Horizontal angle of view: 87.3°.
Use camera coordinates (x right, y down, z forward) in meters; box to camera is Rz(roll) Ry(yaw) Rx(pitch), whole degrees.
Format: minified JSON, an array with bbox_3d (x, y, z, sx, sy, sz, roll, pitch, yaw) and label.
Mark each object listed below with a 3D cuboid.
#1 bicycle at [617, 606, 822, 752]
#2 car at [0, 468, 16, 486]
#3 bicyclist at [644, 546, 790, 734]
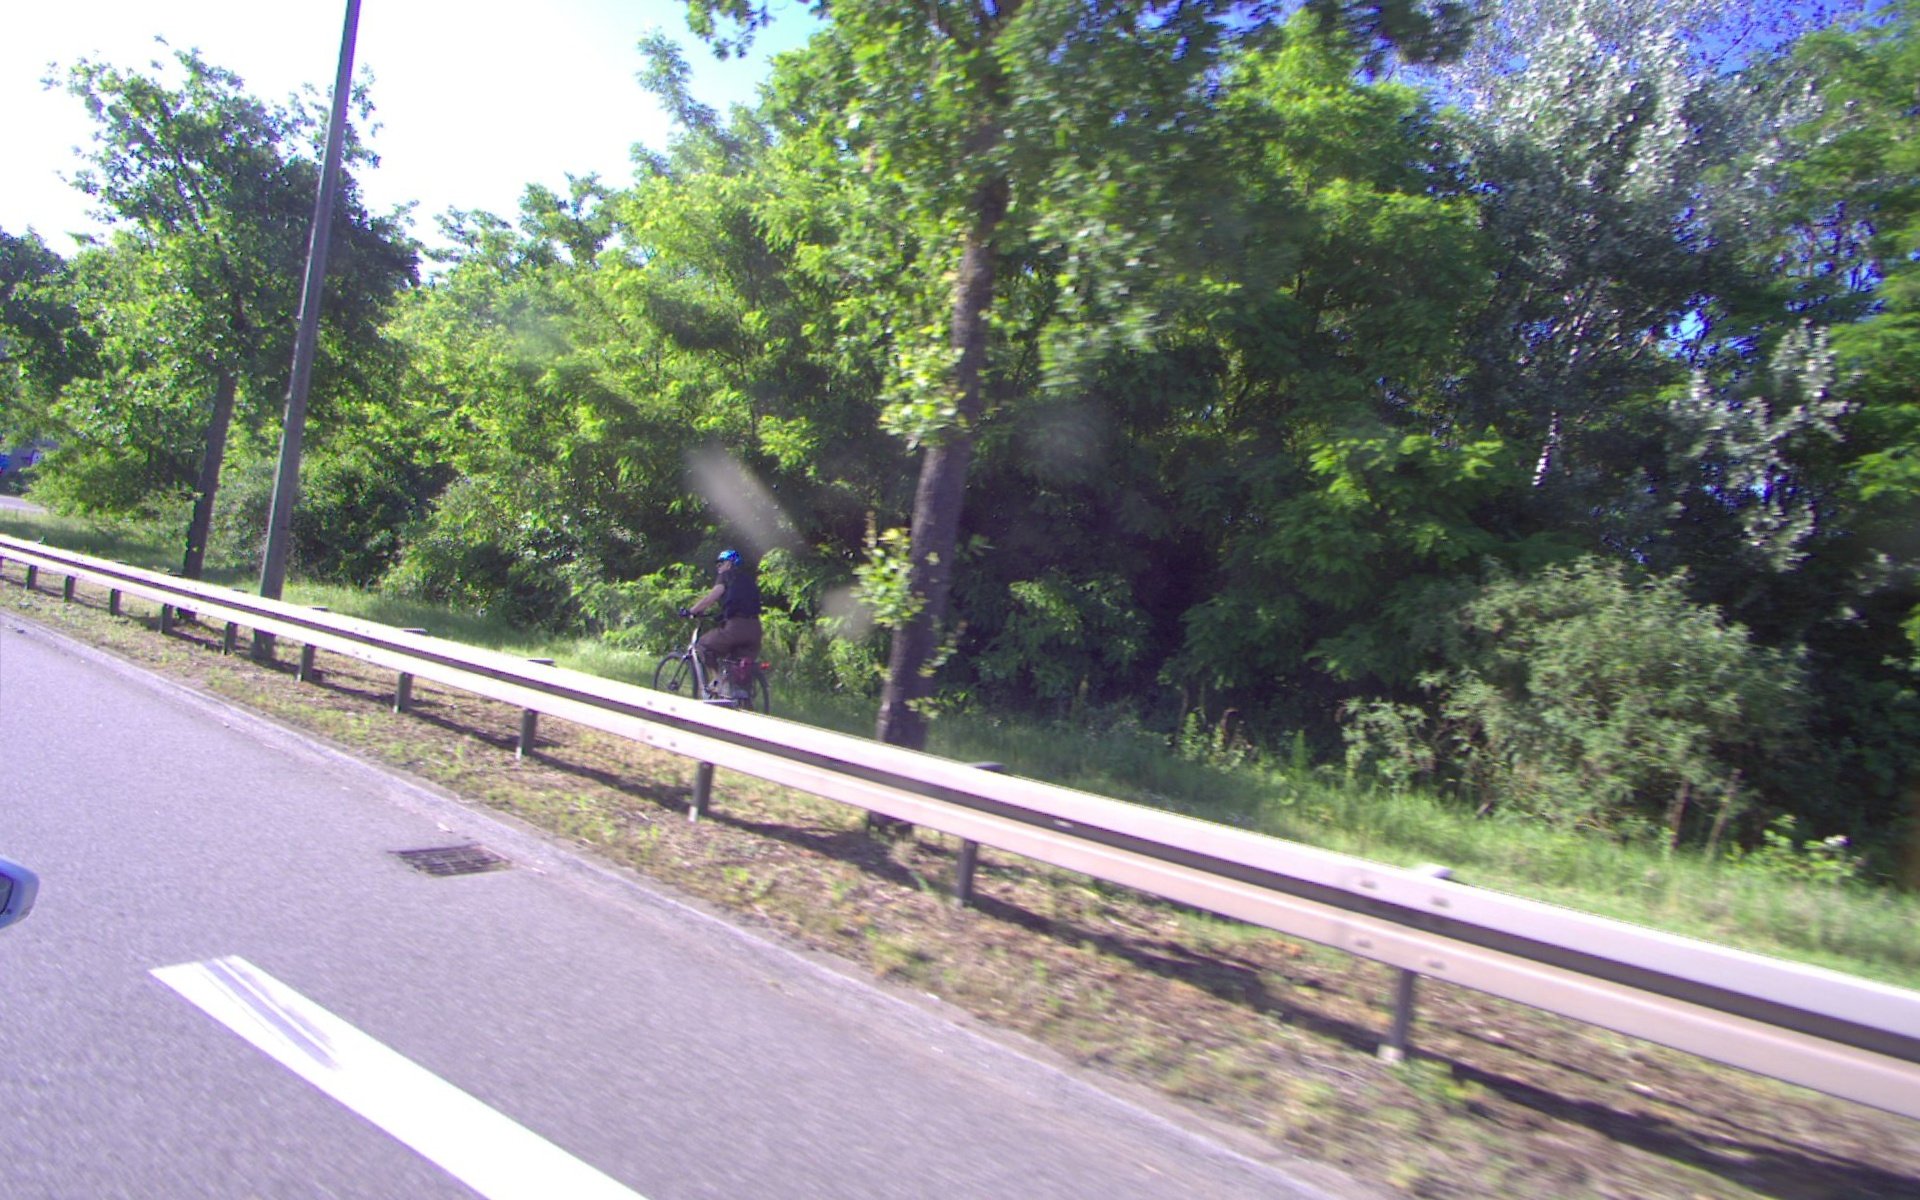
[{"bbox_3d":[-2.282,0.703,9.436,1.891,1.088,0.701,6,1,35],"label":"bicycle"},{"bbox_3d":[-91.831,-11.879,95.682,1.693,1.540,3.720,9,0,-24],"label":"car"},{"bbox_3d":[-2.284,0.366,9.456,0.988,1.598,0.707,8,2,35],"label":"bicyclist"}]
